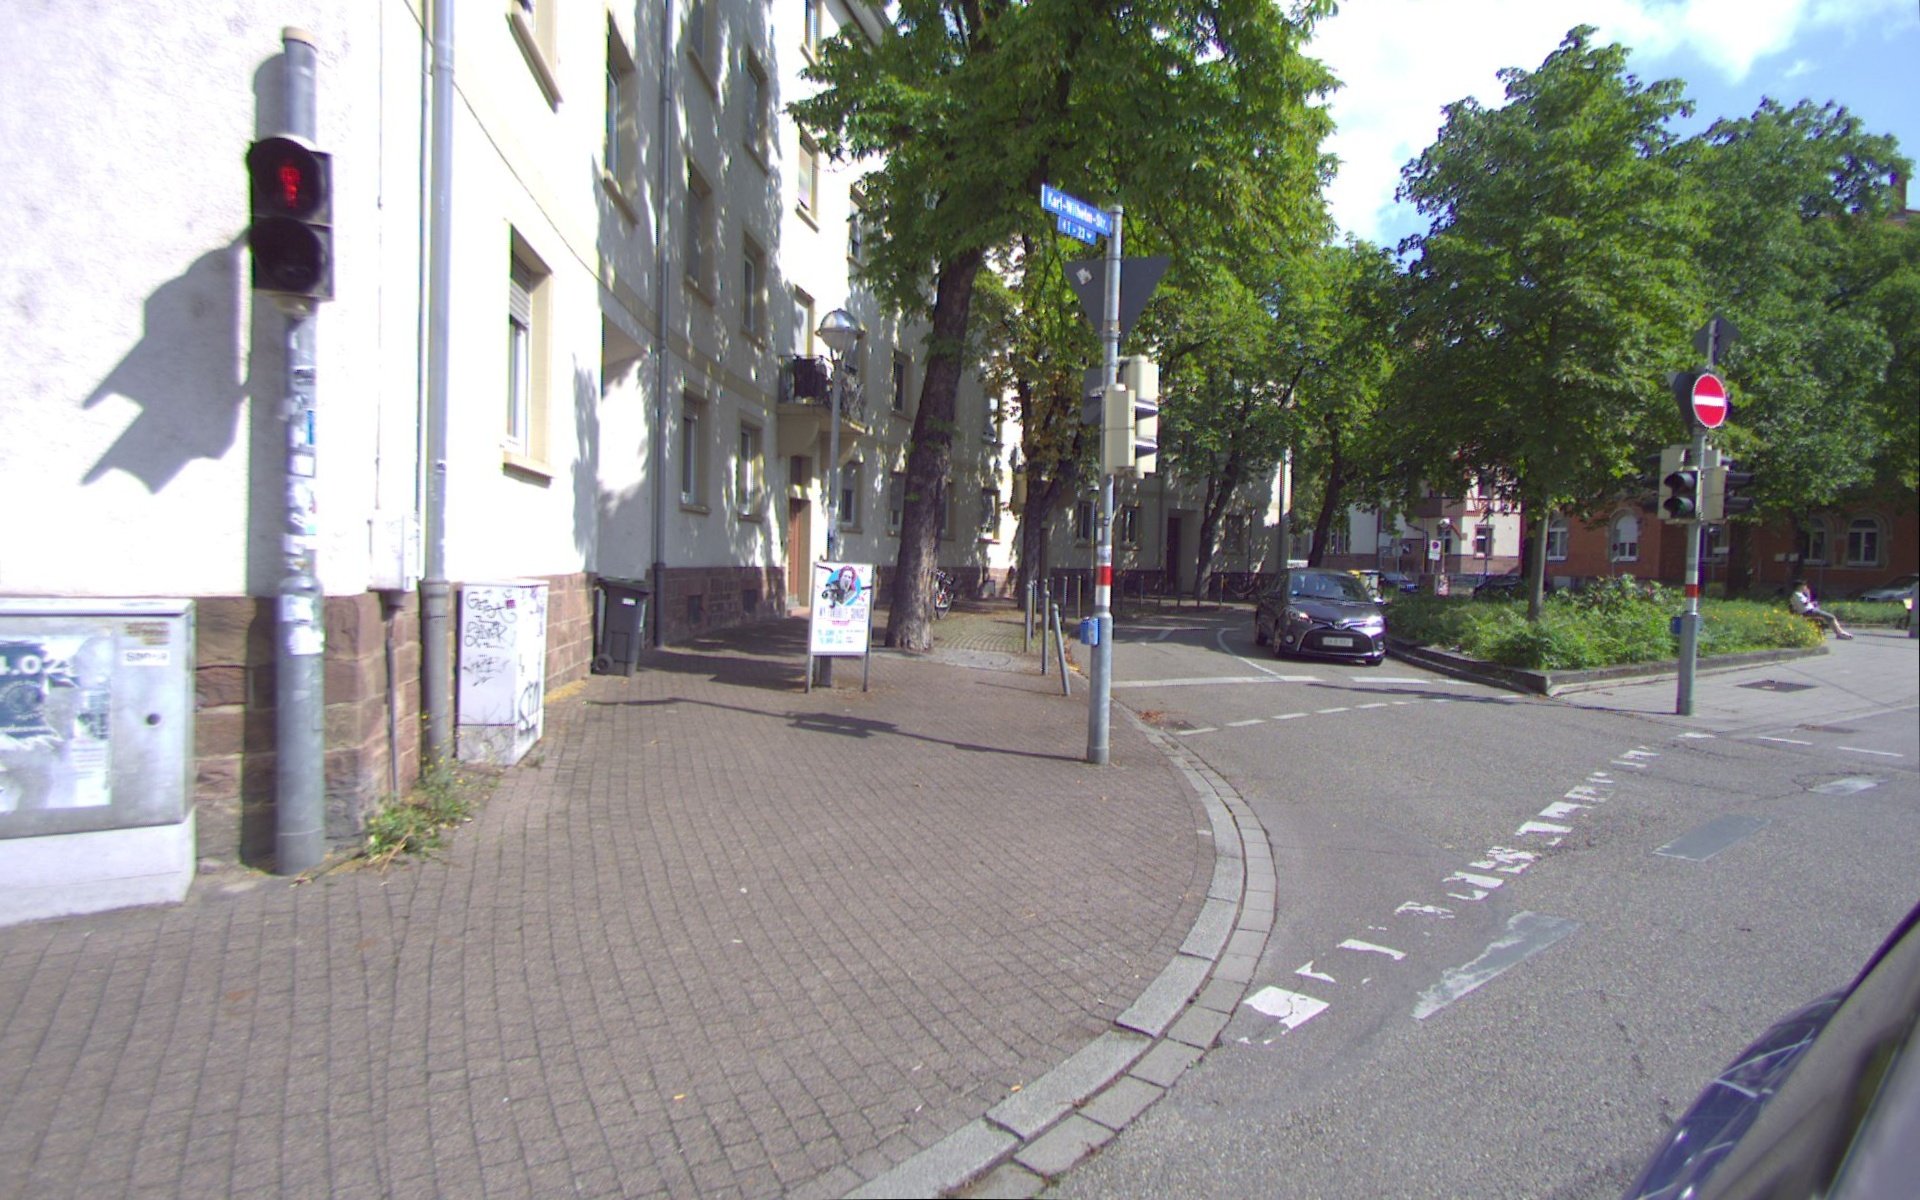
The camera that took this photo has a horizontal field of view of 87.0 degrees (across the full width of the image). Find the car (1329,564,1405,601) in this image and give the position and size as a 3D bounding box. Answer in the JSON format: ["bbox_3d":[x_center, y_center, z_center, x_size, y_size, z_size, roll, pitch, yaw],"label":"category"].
[{"bbox_3d":[27.308,-1.229,68.063,2.236,2.296,5.245,1,3,-10],"label":"car"}]

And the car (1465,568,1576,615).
[{"bbox_3d":[29.941,-0.508,54.306,2.236,2.296,5.247,1,3,-13],"label":"car"}]

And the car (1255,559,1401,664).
[{"bbox_3d":[6.161,0.094,17.337,1.604,1.509,3.722,3,3,9],"label":"car"}]

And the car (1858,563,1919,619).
[{"bbox_3d":[37.362,-0.295,37.749,5.213,2.038,2.274,2,2,15],"label":"car"}]

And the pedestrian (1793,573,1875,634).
[{"bbox_3d":[19.497,0.056,22.577,0.891,1.216,1.160,0,6,-40],"label":"pedestrian"}]

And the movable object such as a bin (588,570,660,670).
[{"bbox_3d":[-3.282,0.190,9.914,0.564,0.937,0.498,1,2,-7],"label":"movable object such as a bin"}]

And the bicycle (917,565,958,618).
[{"bbox_3d":[-0.454,-0.197,20.803,0.298,1.022,1.468,5,3,18],"label":"bicycle"}]

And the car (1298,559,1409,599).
[{"bbox_3d":[16.165,-0.849,41.727,1.620,1.571,3.998,-1,1,-37],"label":"car"}]
